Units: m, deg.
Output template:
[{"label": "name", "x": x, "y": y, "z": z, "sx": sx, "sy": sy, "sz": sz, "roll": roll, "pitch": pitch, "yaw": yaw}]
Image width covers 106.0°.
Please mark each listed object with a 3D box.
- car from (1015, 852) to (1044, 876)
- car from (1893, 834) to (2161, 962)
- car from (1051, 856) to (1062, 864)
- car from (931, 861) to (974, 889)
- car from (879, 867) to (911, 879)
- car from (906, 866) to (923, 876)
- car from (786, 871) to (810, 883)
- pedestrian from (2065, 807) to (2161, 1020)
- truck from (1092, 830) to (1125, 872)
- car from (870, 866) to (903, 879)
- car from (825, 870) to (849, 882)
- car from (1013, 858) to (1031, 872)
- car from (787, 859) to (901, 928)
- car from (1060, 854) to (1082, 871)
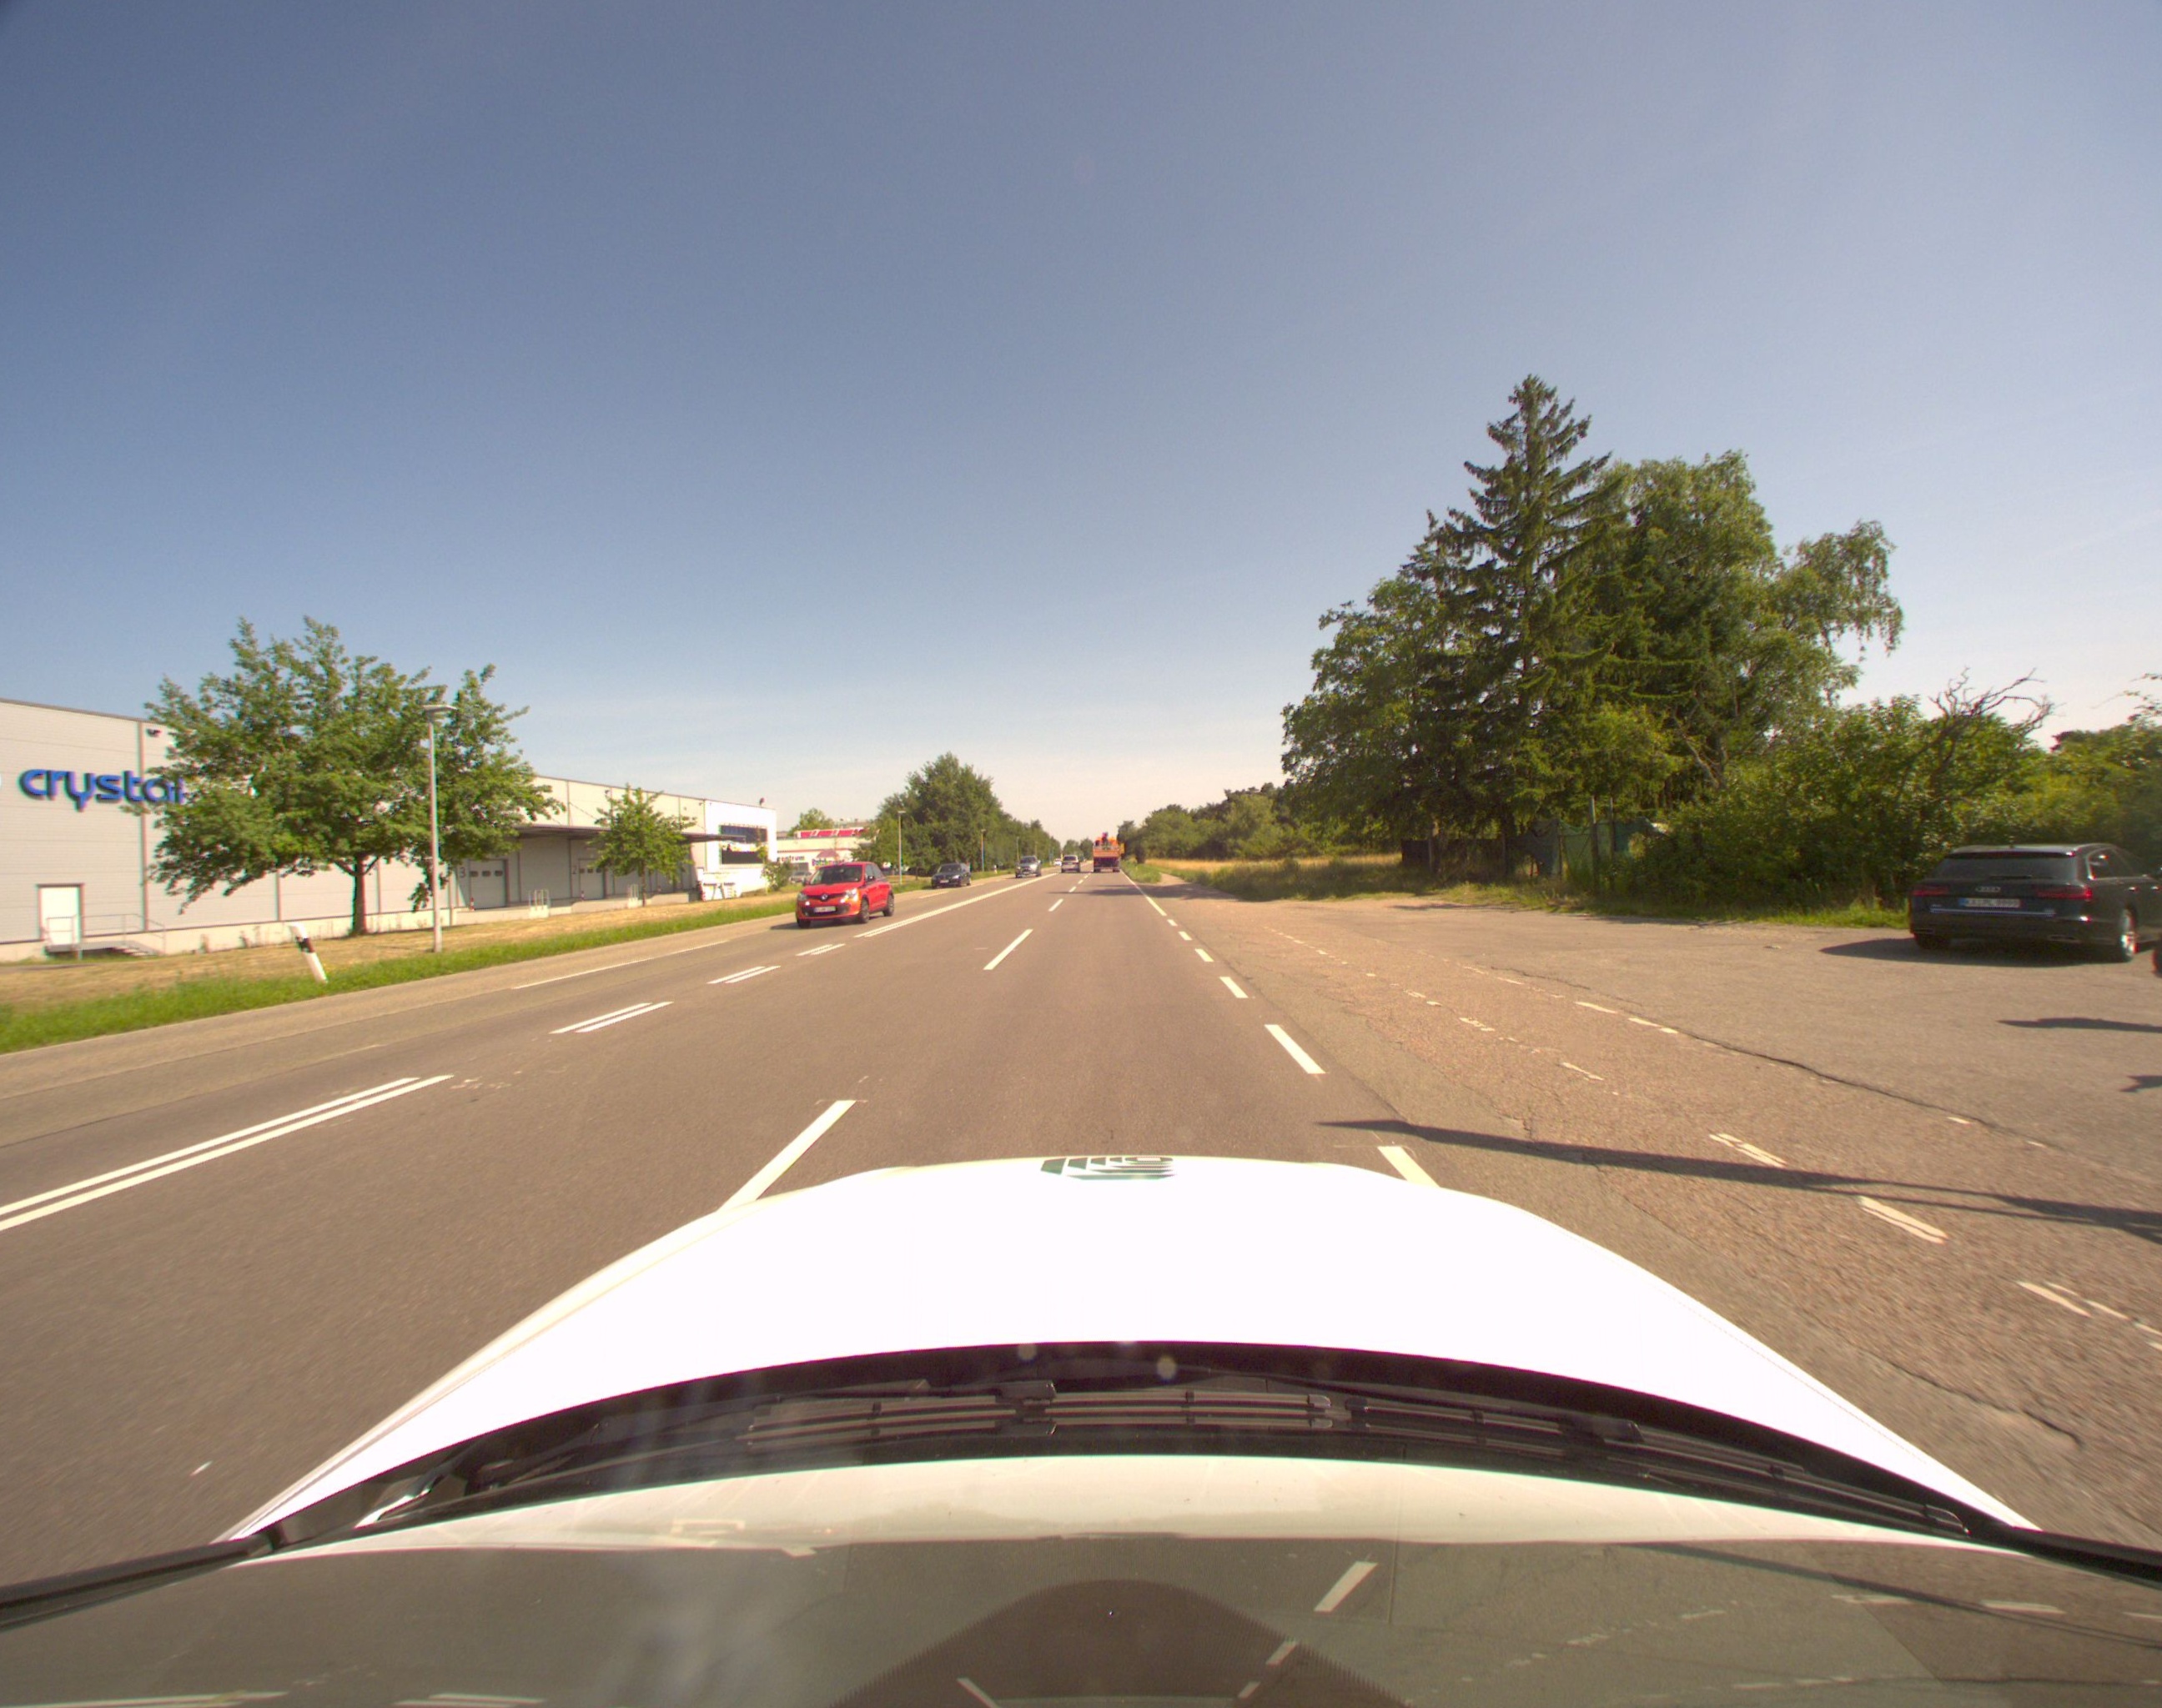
[{"label": "car", "x": -4.138, "y": 0.802, "z": 65.796, "sx": 1.765, "sy": 1.714, "sz": 4.571, "roll": -4, "pitch": 0, "yaw": 2}, {"label": "car", "x": 13.439, "y": 0.500, "z": 11.377, "sx": 4.475, "sy": 1.430, "sz": 1.700, "roll": -2, "pitch": 0, "yaw": -28}, {"label": "car", "x": -4.669, "y": 1.204, "z": 155.862, "sx": 1.653, "sy": 1.437, "sz": 3.736, "roll": -4, "pitch": 0, "yaw": 1}, {"label": "car", "x": -7.807, "y": 1.225, "z": 49.825, "sx": 1.646, "sy": 1.480, "sz": 4.741, "roll": -4, "pitch": 0, "yaw": 1}, {"label": "car", "x": -26.572, "y": 2.678, "z": 116.497, "sx": 3.973, "sy": 1.501, "sz": 1.758, "roll": -3, "pitch": 0, "yaw": 1}, {"label": "car", "x": -27.106, "y": 2.728, "z": 132.516, "sx": 1.782, "sy": 1.349, "sz": 4.661, "roll": -4, "pitch": 0, "yaw": -1}, {"label": "car", "x": -35.355, "y": 2.882, "z": 101.890, "sx": 1.630, "sy": 1.410, "sz": 3.723, "roll": -3, "pitch": 0, "yaw": 1}, {"label": "pedestrian", "x": 9.454, "y": 0.483, "z": 7.068, "sx": 0.941, "sy": 1.786, "sz": 1.087, "roll": -2, "pitch": -1, "yaw": -38}, {"label": "truck", "x": 2.544, "y": -0.243, "z": 78.720, "sx": 2.863, "sy": 3.880, "sz": 7.397, "roll": 0, "pitch": 0, "yaw": 0}, {"label": "car", "x": -26.792, "y": 2.564, "z": 112.406, "sx": 3.973, "sy": 1.501, "sz": 1.758, "roll": -3, "pitch": 0, "yaw": 1}, {"label": "car", "x": -30.501, "y": 2.732, "z": 101.900, "sx": 1.630, "sy": 1.390, "sz": 3.723, "roll": -3, "pitch": 0, "yaw": 1}, {"label": "car", "x": -6.757, "y": 1.204, "z": 93.684, "sx": 1.722, "sy": 1.561, "sz": 4.216, "roll": 0, "pitch": 0, "yaw": 1}, {"label": "car", "x": -6.048, "y": 0.953, "z": 21.261, "sx": 1.644, "sy": 1.497, "sz": 3.845, "roll": -5, "pitch": 0, "yaw": 1}, {"label": "car", "x": -0.954, "y": 0.792, "z": 78.885, "sx": 1.987, "sy": 1.583, "sz": 4.000, "roll": -2, "pitch": 0, "yaw": 0}]
